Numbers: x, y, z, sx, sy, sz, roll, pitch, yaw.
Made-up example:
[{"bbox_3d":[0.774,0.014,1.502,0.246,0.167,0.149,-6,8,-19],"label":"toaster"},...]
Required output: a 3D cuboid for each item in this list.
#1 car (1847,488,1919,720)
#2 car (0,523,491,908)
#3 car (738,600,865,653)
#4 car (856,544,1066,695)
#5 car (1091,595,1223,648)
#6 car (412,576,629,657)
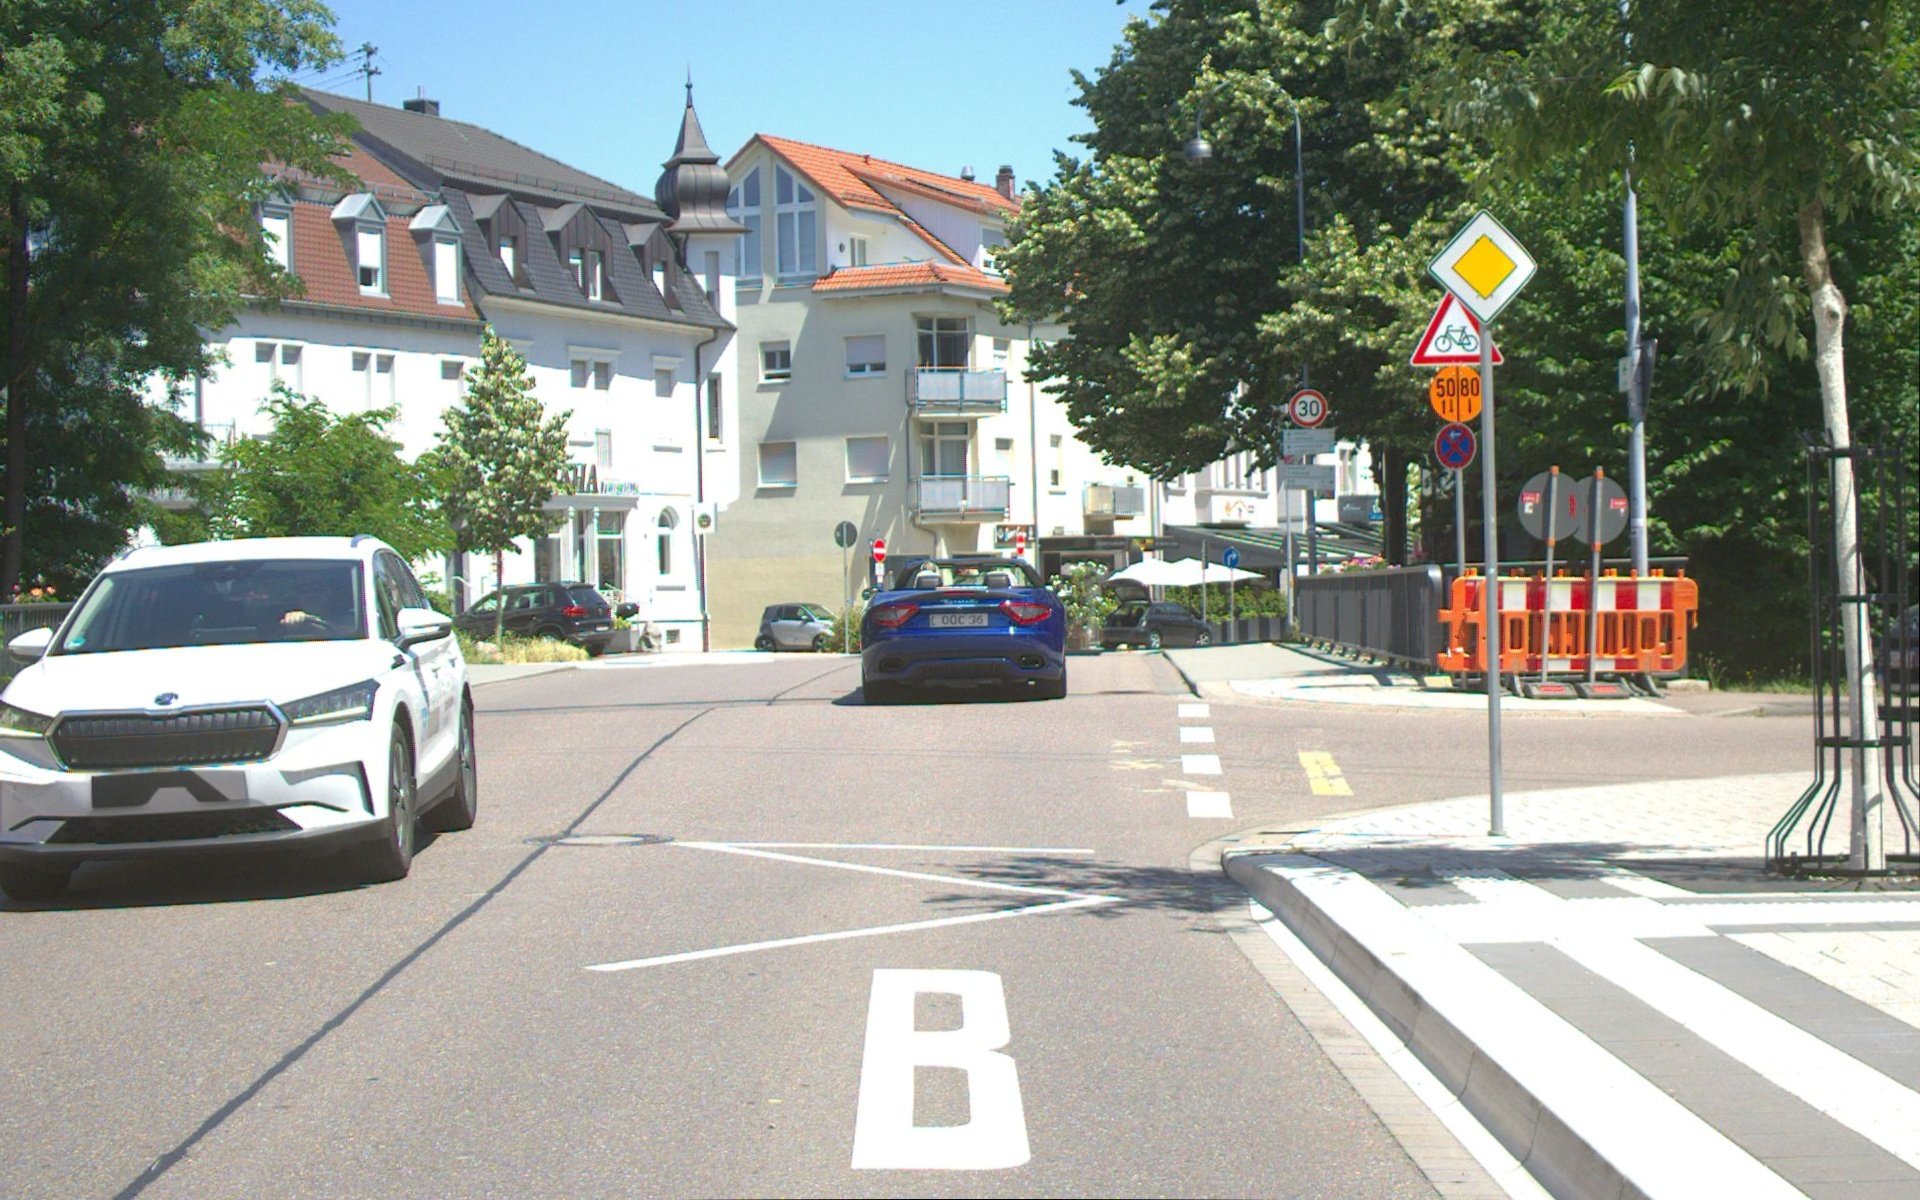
[{"bbox_3d":[9.626,0.042,27.925,4.336,1.832,1.750,0,0,-8],"label":"car"},{"bbox_3d":[-3.527,0.478,17.064,1.877,1.591,4.360,-3,1,-2],"label":"car"},{"bbox_3d":[-4.612,0.780,99.977,3.266,1.453,1.690,-1,0,23],"label":"car"},{"bbox_3d":[-0.009,0.171,32.956,1.870,1.337,4.596,0,0,0],"label":"car"},{"bbox_3d":[5.662,0.627,98.267,1.716,1.455,4.120,1,0,37],"label":"car"},{"bbox_3d":[-9.461,0.359,74.015,4.185,1.656,1.968,-1,-1,23],"label":"car"}]
